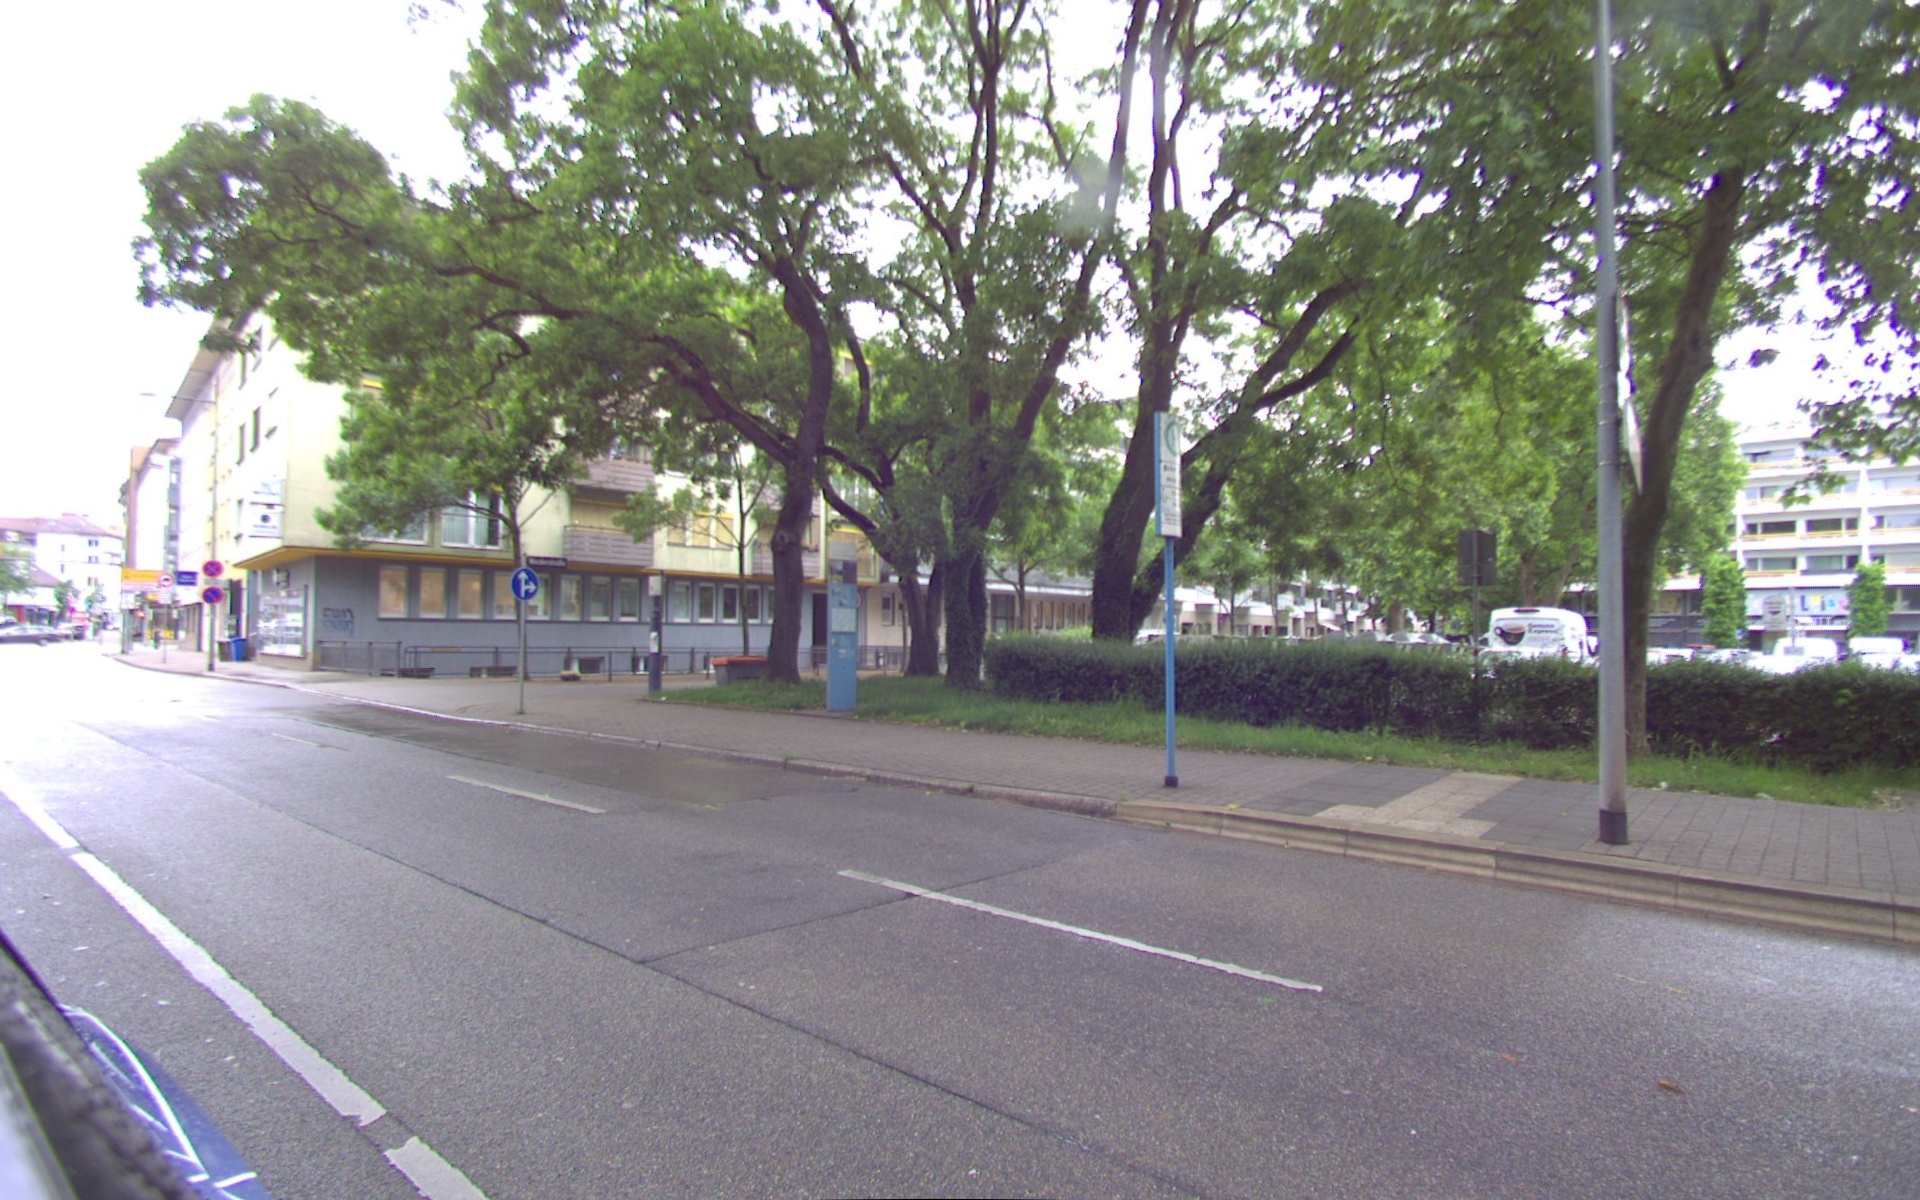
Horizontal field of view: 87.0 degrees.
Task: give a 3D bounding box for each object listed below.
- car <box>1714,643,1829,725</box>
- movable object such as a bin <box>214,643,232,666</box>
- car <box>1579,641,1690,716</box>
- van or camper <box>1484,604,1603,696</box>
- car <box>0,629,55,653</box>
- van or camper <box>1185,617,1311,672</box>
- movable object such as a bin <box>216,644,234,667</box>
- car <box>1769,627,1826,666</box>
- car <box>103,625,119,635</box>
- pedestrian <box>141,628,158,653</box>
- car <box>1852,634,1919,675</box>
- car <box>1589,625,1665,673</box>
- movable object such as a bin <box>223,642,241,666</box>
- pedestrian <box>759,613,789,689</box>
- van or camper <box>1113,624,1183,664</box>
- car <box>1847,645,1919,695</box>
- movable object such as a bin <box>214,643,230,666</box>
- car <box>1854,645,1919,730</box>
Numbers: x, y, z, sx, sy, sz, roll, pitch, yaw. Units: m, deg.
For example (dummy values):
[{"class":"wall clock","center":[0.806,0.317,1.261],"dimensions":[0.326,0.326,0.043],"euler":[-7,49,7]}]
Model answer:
[{"class":"car","center":[18.590,1.838,23.217],"dimensions":[1.895,1.497,3.948],"euler":[-1,0,39]},{"class":"movable object such as a bin","center":[-30.835,2.279,42.328],"dimensions":[0.521,0.935,0.426],"euler":[-3,1,-42]},{"class":"car","center":[16.711,1.868,25.001],"dimensions":[1.895,1.497,3.948],"euler":[-1,0,39]},{"class":"van or camper","center":[16.894,1.421,29.198],"dimensions":[2.099,2.450,4.280],"euler":[-2,-3,42]},{"class":"car","center":[-67.631,2.927,72.341],"dimensions":[1.480,1.618,4.142],"euler":[-2,-4,41]},{"class":"van or camper","center":[14.169,2.154,49.362],"dimensions":[2.561,2.420,8.535],"euler":[-2,-3,41]},{"class":"movable object such as a bin","center":[-30.489,2.284,41.989],"dimensions":[0.522,0.902,0.435],"euler":[-3,1,-42]},{"class":"car","center":[41.877,2.301,50.679],"dimensions":[2.097,1.735,3.948],"euler":[-1,0,39]},{"class":"car","center":[-127.173,4.513,151.578],"dimensions":[1.567,1.539,3.496],"euler":[2,-3,-36]},{"class":"pedestrian","center":[-53.807,2.704,67.160],"dimensions":[0.773,1.600,0.675],"euler":[-1,-1,-29]},{"class":"car","center":[40.308,2.340,44.157],"dimensions":[1.895,1.497,3.948],"euler":[-1,0,39]},{"class":"car","center":[24.037,1.719,36.441],"dimensions":[1.895,1.497,3.948],"euler":[-1,0,39]},{"class":"movable object such as a bin","center":[-30.037,2.220,41.730],"dimensions":[0.522,0.968,0.435],"euler":[-3,1,-42]},{"class":"pedestrian","center":[-5.074,1.386,27.603],"dimensions":[0.769,2.029,0.754],"euler":[1,-2,-12]},{"class":"van or camper","center":[10.386,2.445,55.613],"dimensions":[1.825,2.029,4.576],"euler":[1,-2,38]},{"class":"car","center":[33.340,2.476,36.461],"dimensions":[1.895,1.497,3.948],"euler":[-1,0,39]},{"class":"movable object such as a bin","center":[-31.221,2.313,42.805],"dimensions":[0.458,0.935,0.429],"euler":[-3,1,-42]},{"class":"car","center":[20.487,1.807,21.608],"dimensions":[1.895,1.497,3.948],"euler":[-1,0,39]}]
